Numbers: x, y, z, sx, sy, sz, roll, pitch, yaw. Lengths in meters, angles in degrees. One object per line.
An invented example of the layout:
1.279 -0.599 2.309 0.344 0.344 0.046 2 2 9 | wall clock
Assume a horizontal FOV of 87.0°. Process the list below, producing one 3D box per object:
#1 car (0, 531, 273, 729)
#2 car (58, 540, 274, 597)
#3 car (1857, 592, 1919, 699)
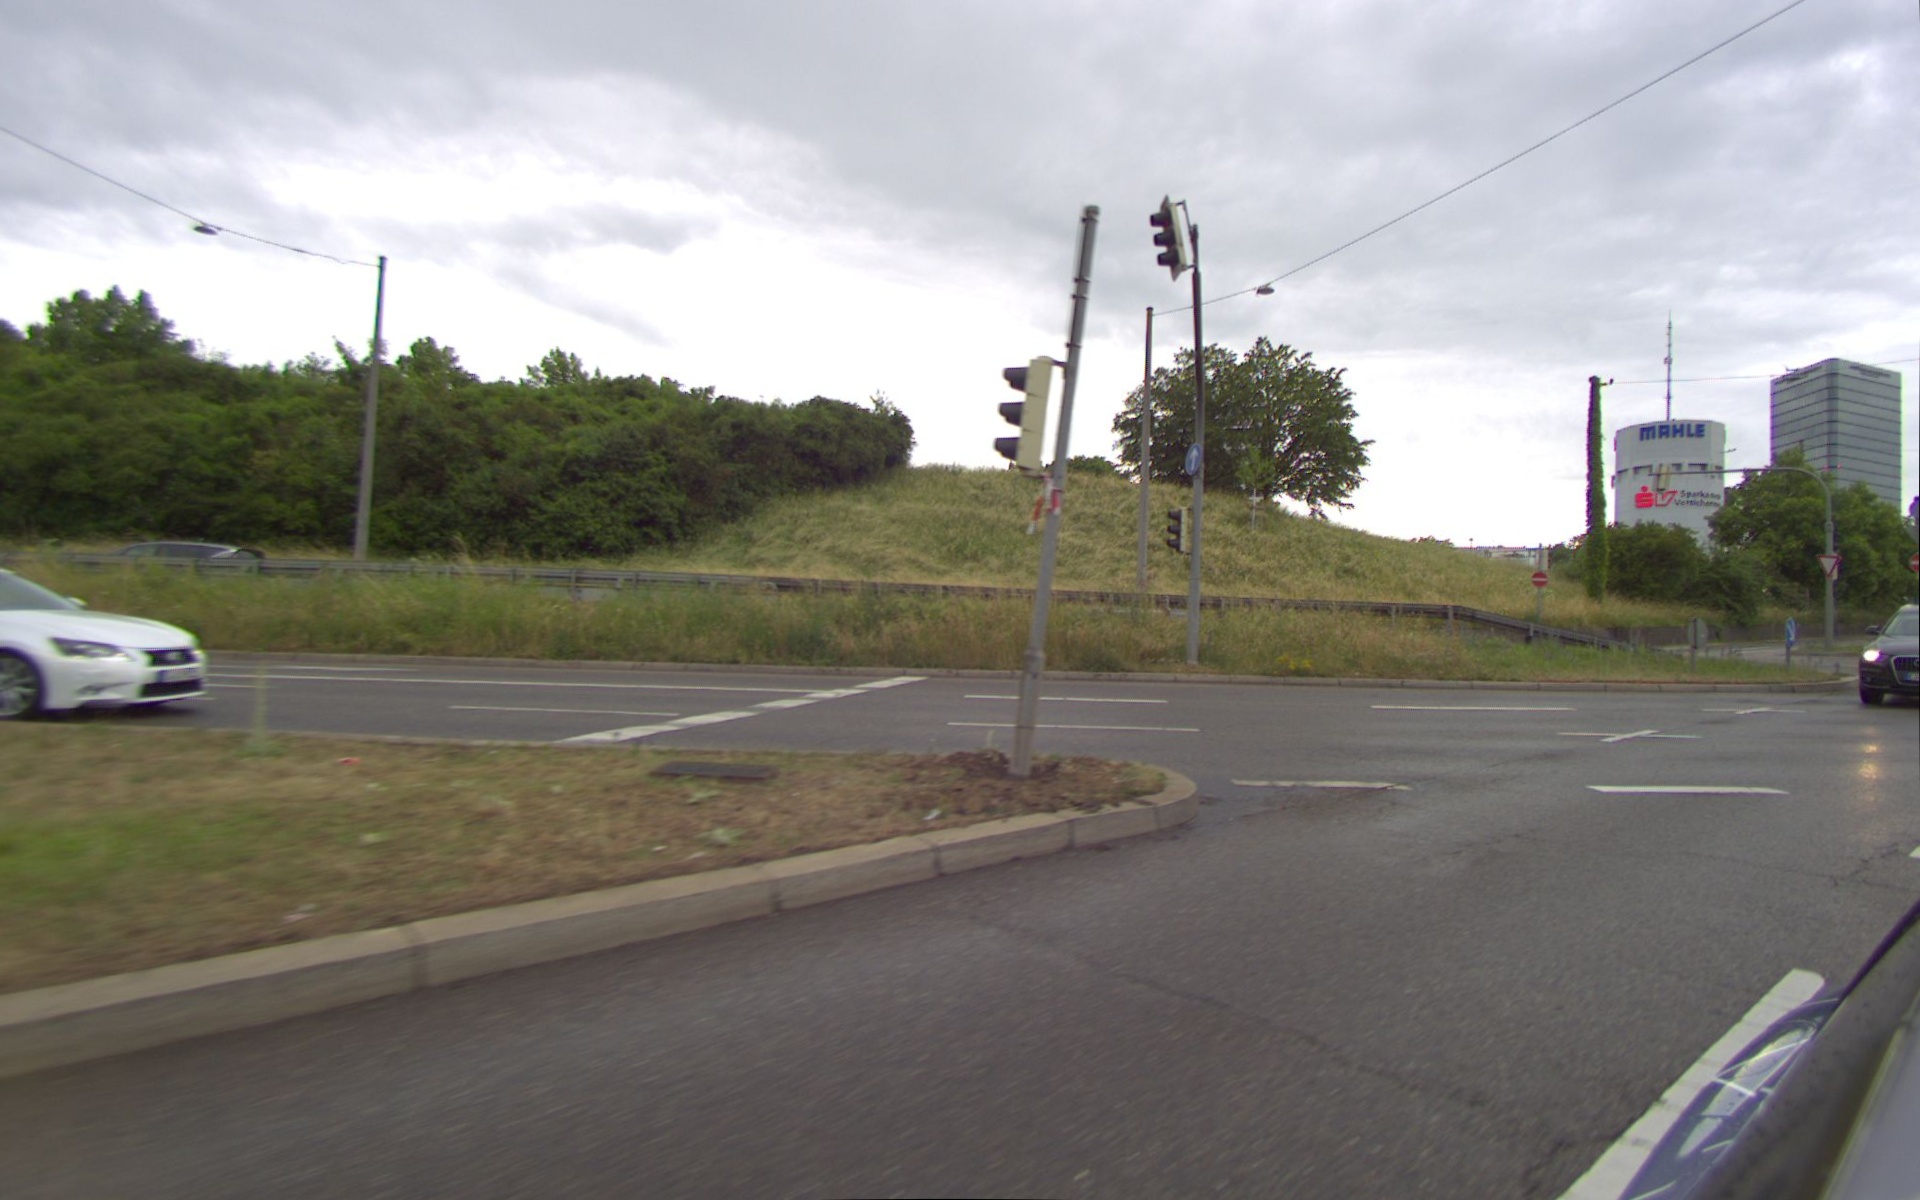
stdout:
-9.865 0.137 9.804 4.893 1.666 2.076 4 0 -3 | car
-20.966 -0.809 26.881 4.140 1.367 1.786 0 -2 -9 | car
16.386 0.721 16.513 4.201 1.622 1.927 1 -2 -39 | car
